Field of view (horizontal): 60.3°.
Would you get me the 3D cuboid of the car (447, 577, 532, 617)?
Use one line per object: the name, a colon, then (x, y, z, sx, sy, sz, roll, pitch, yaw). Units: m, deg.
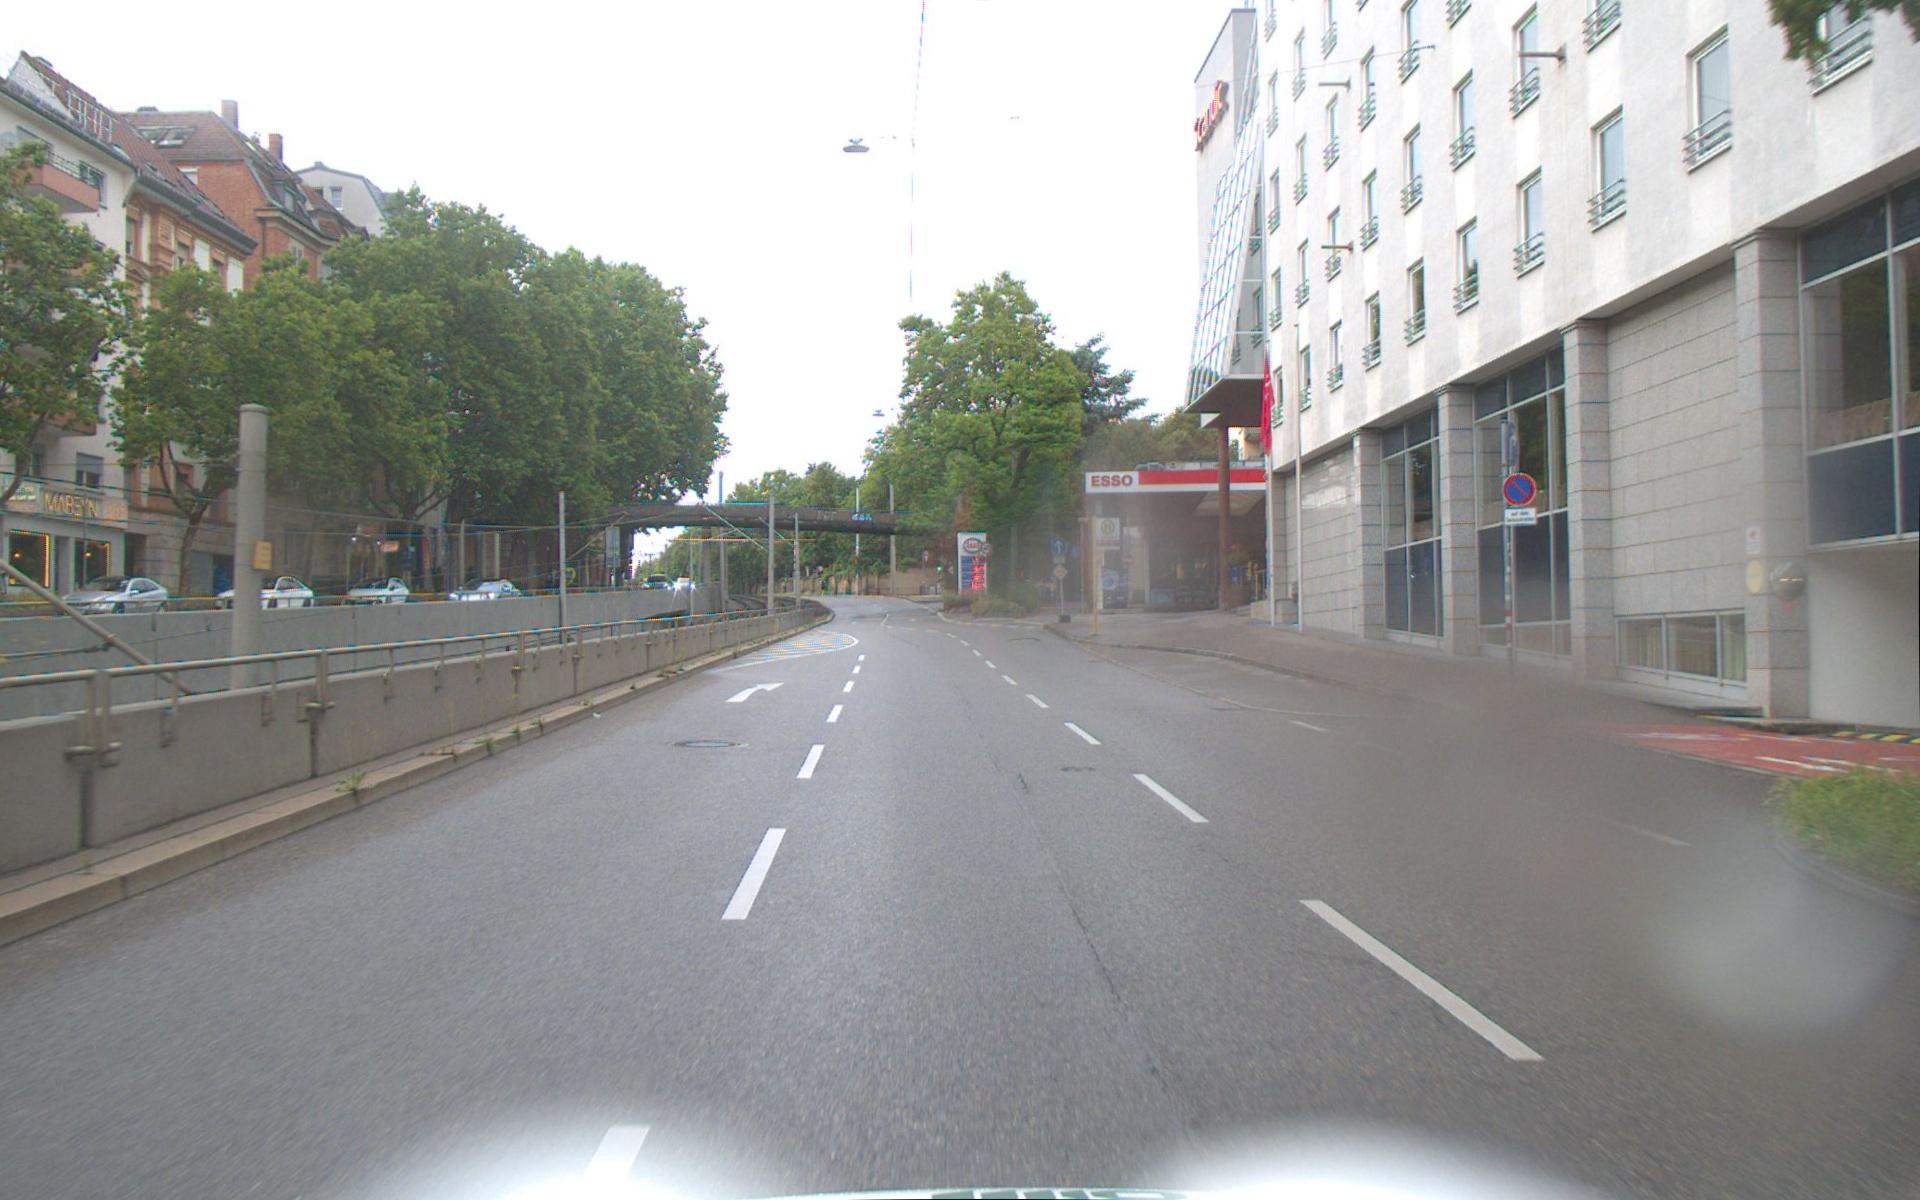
car: (-18.958, -0.128, 66.886, 1.985, 1.536, 4.883, 1, 0, 0)

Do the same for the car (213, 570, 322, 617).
car: (-25.548, -0.247, 61.224, 1.888, 1.629, 5.198, 1, 0, -1)

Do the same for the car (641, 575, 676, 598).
car: (-24.792, -1.109, 136.079, 1.916, 1.885, 4.968, 1, 0, 0)

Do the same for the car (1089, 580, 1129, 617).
car: (7.268, -0.064, 80.279, 1.735, 1.652, 3.869, -2, 0, 7)

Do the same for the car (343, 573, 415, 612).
car: (-25.376, -0.342, 72.342, 1.758, 1.639, 4.111, 1, 0, -1)

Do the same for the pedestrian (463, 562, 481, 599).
pedestrian: (-27.878, -1.112, 94.495, 0.655, 2.049, 0.935, 1, -1, 1)

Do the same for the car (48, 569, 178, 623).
car: (-25.652, -0.124, 50.262, 1.757, 1.536, 4.208, 1, 0, 0)

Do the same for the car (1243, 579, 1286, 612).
car: (15.336, -0.219, 83.433, 1.756, 1.537, 4.002, 1, -1, 5)
